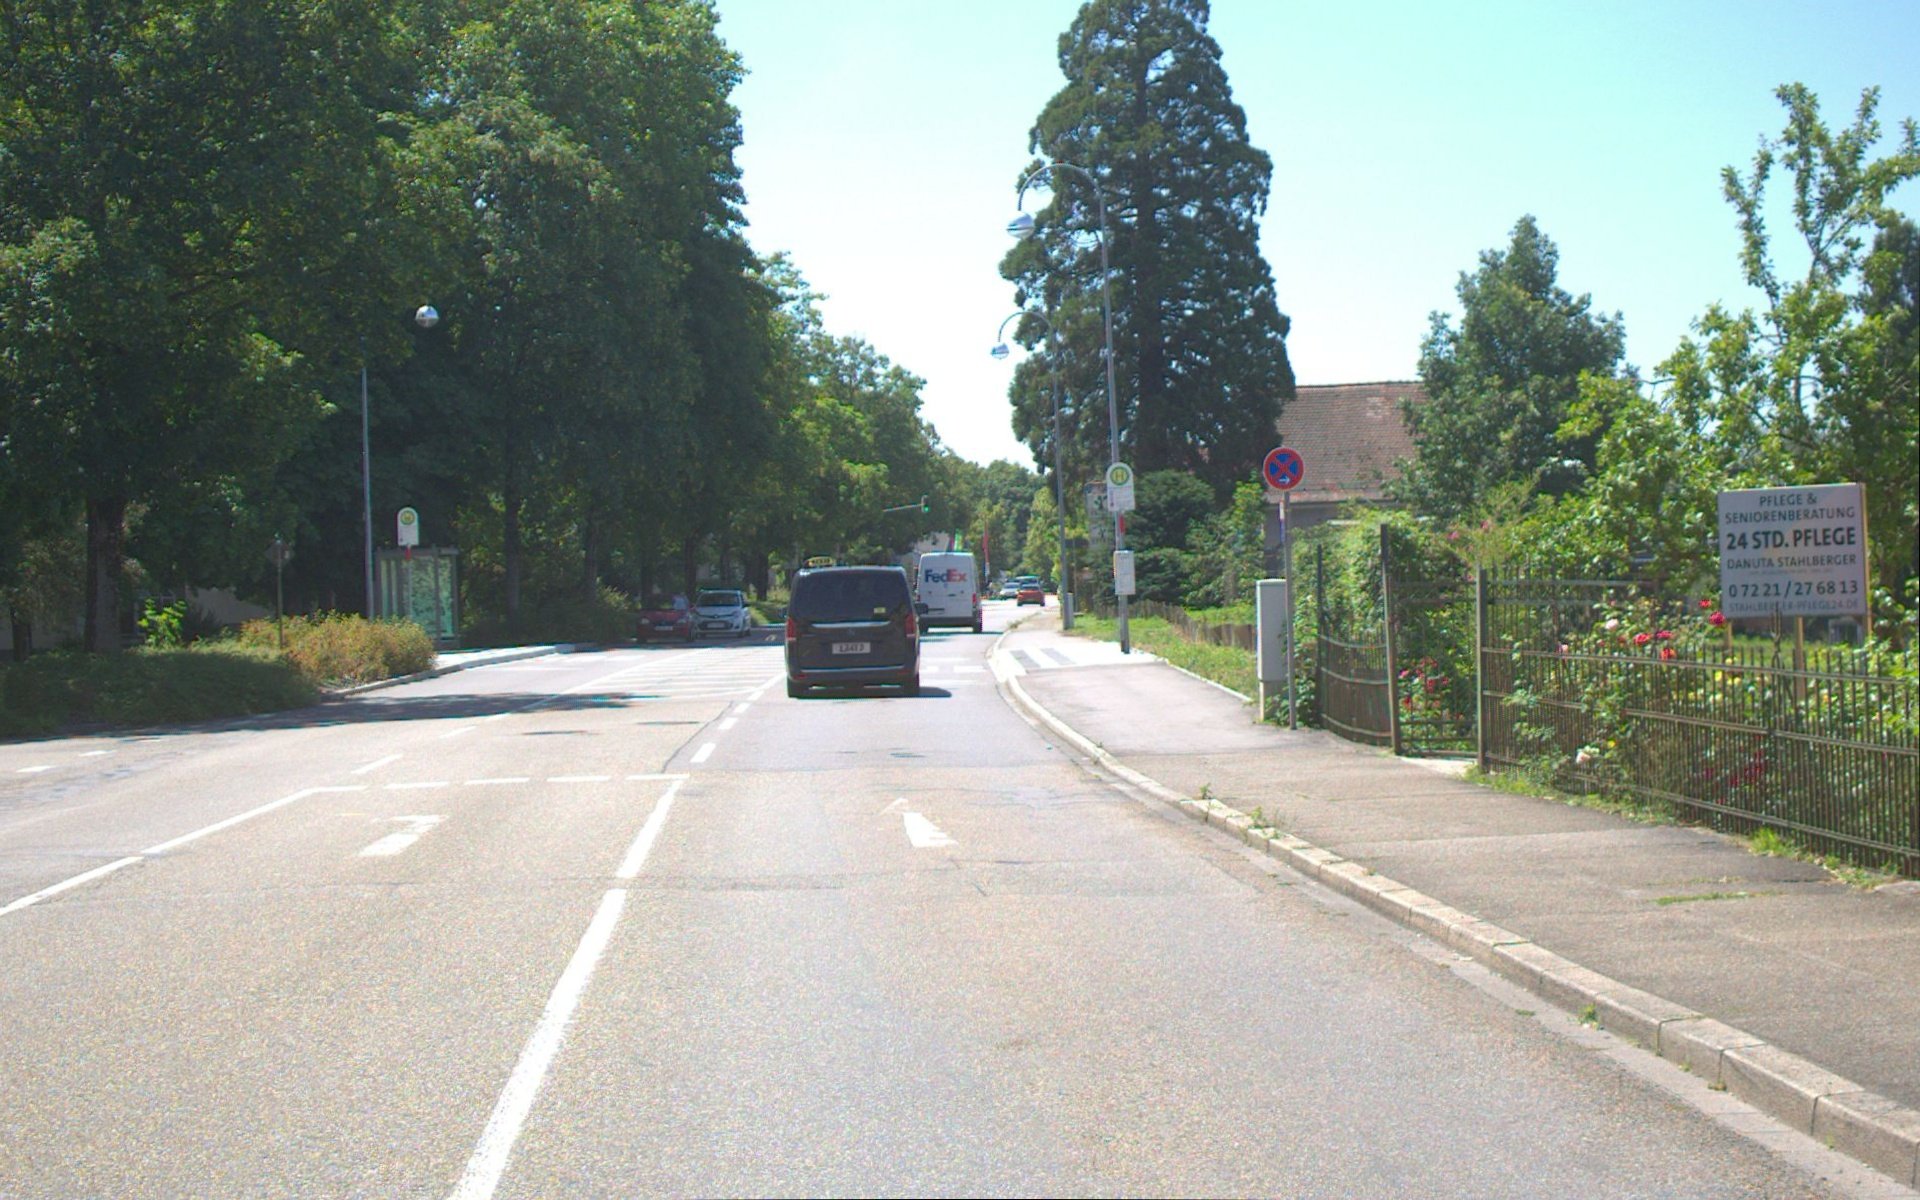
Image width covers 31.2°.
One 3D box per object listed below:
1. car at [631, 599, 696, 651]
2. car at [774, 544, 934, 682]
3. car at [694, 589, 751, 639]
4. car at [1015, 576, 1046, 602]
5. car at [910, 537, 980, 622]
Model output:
[{"bbox_3d":[-8.416,0.695,97.857,1.550,1.445,3.691,0,0,0],"label":"car"},{"bbox_3d":[-1.468,0.151,49.232,1.994,1.887,4.000,0,1,2],"label":"car"},{"bbox_3d":[-7.311,0.429,106.049,1.690,1.455,3.640,0,1,-3],"label":"car"},{"bbox_3d":[4.667,-0.746,227.362,1.857,1.637,4.000,0,1,-2],"label":"car"},{"bbox_3d":[-0.517,-0.690,110.663,2.120,2.668,5.662,0,1,-2],"label":"car"}]
